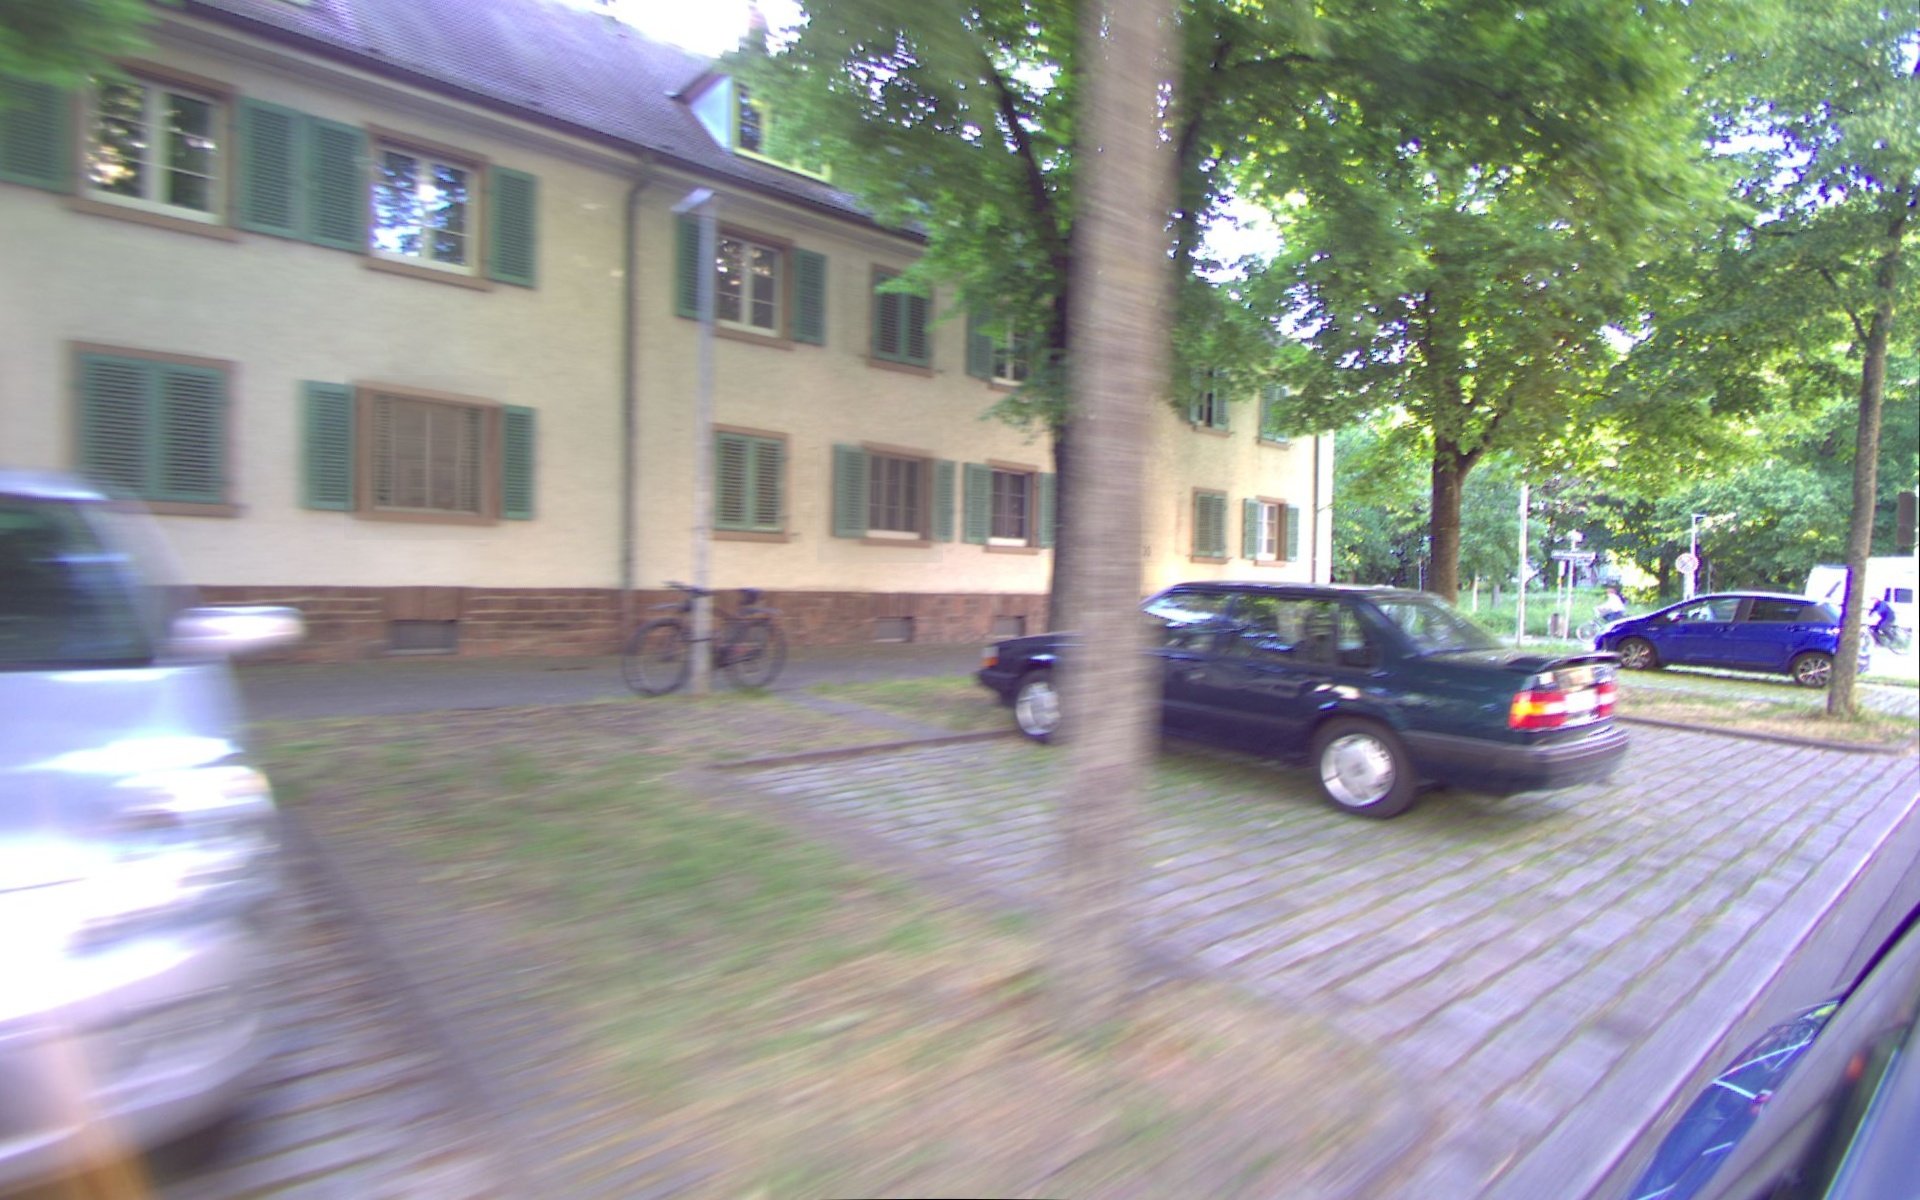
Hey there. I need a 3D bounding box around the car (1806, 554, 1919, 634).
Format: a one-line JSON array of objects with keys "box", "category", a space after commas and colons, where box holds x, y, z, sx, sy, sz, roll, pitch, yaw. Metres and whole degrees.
[{"box": [32.519, -0.217, 34.278, 2.201, 2.646, 5.622, -1, 3, -42], "category": "car"}]

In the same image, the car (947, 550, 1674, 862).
[{"box": [2.248, 0.452, 7.734, 1.909, 1.459, 4.903, -1, 5, -42], "category": "car"}]

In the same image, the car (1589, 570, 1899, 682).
[{"box": [13.657, 0.349, 17.790, 1.966, 1.574, 3.994, -1, 4, -43], "category": "car"}]

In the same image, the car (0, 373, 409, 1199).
[{"box": [-3.202, 0.334, 2.795, 1.909, 1.690, 4.485, 1, 4, -42], "category": "car"}]

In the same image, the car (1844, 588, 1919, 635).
[{"box": [34.489, 0.429, 36.056, 1.945, 1.594, 4.293, -1, 3, -42], "category": "car"}]

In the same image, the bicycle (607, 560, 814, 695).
[{"box": [-2.349, 0.235, 9.738, 0.627, 1.177, 1.906, 2, 1, 41], "category": "bicycle"}]

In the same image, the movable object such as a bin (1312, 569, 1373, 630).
[{"box": [12.211, -0.038, 32.329, 1.129, 1.850, 1.387, -1, 2, -34], "category": "movable object such as a bin"}]

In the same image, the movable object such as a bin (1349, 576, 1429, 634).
[{"box": [13.152, 0.130, 31.055, 1.561, 1.678, 1.641, -1, 2, -34], "category": "movable object such as a bin"}]

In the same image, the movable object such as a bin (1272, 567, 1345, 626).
[{"box": [11.577, -0.141, 33.633, 1.890, 1.876, 1.394, -1, 2, -34], "category": "movable object such as a bin"}]
